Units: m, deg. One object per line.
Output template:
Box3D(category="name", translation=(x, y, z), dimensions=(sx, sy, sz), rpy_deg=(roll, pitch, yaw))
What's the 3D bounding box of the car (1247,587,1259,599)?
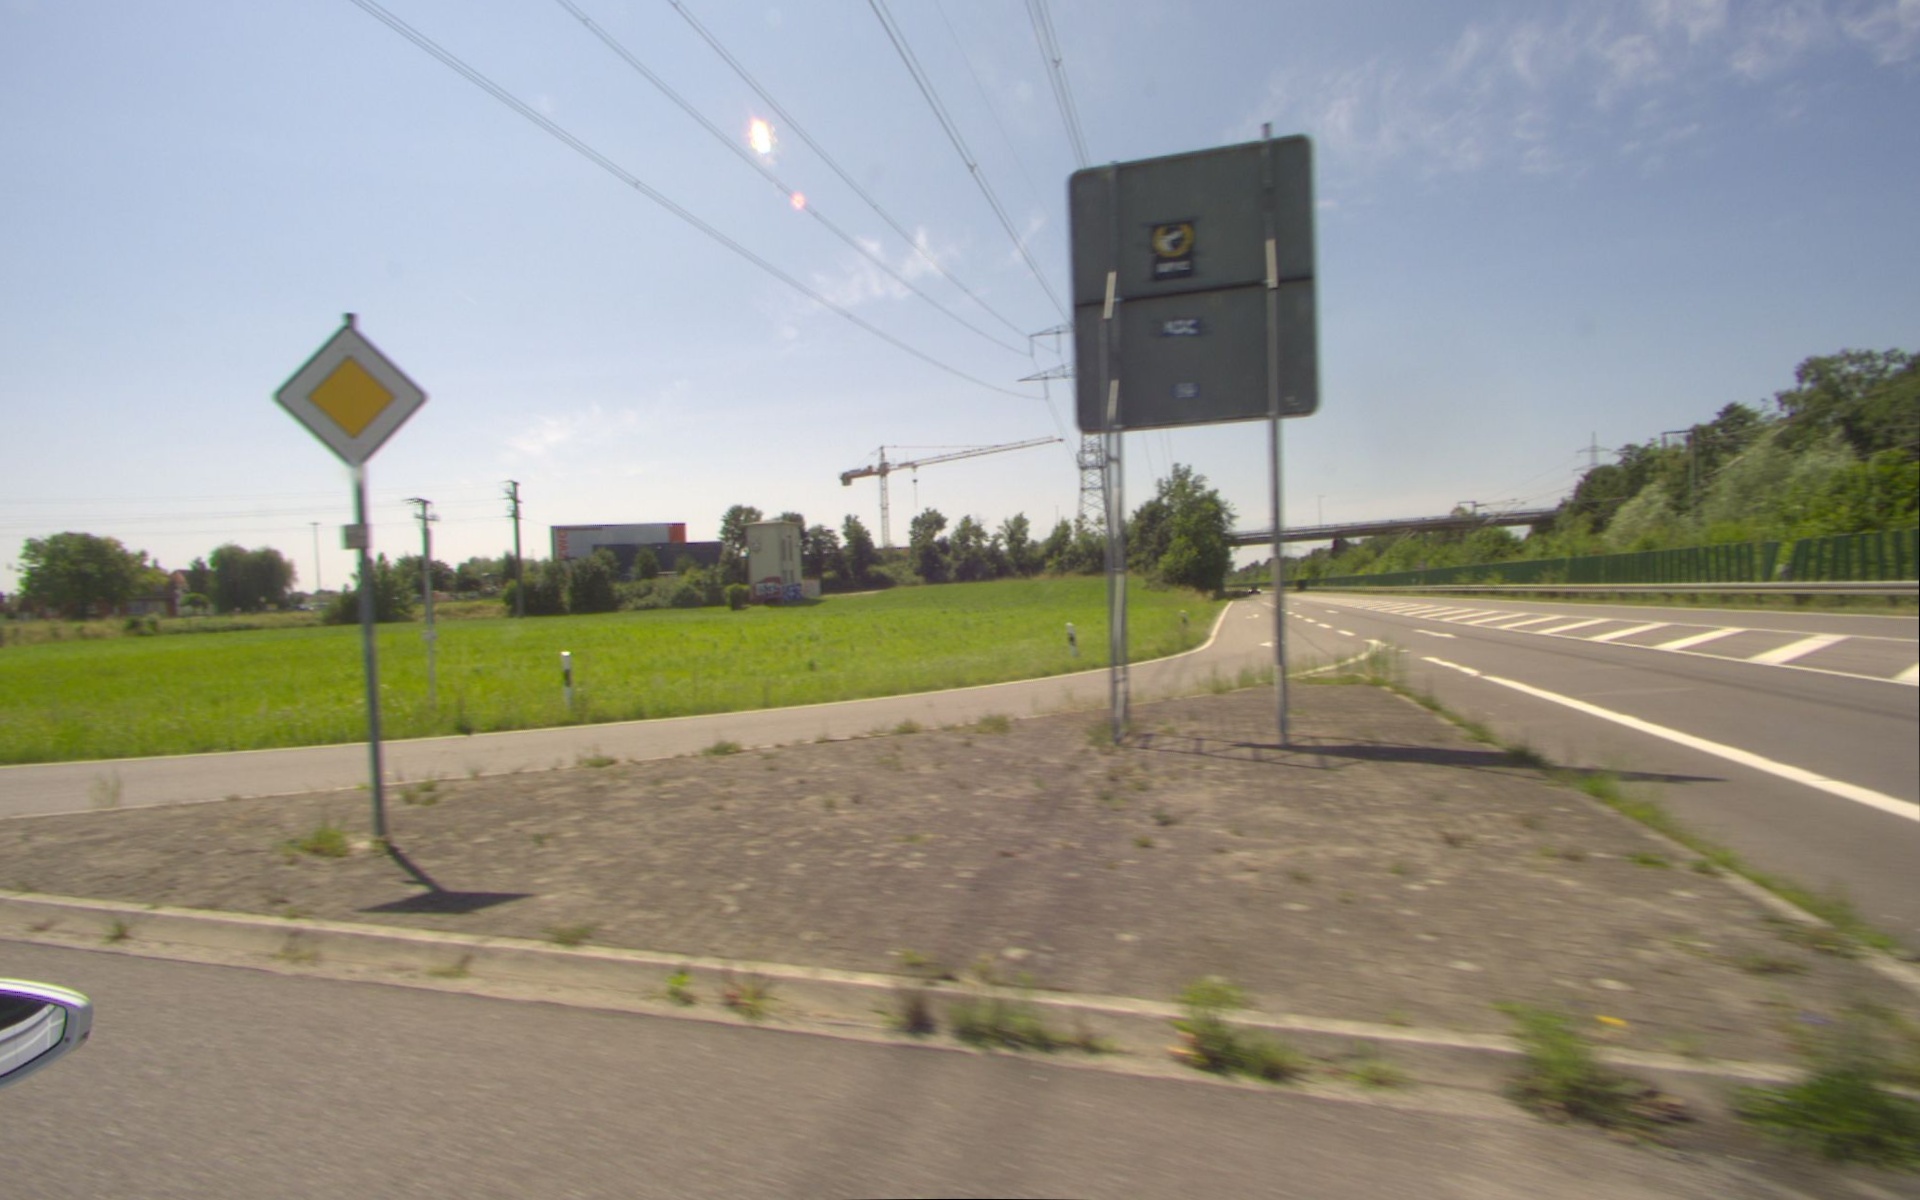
Box3D(category="car", translation=(46.826, -1.134, 160.033), dimensions=(1.693, 1.747, 3.993), rpy_deg=(-1, 1, 16))
